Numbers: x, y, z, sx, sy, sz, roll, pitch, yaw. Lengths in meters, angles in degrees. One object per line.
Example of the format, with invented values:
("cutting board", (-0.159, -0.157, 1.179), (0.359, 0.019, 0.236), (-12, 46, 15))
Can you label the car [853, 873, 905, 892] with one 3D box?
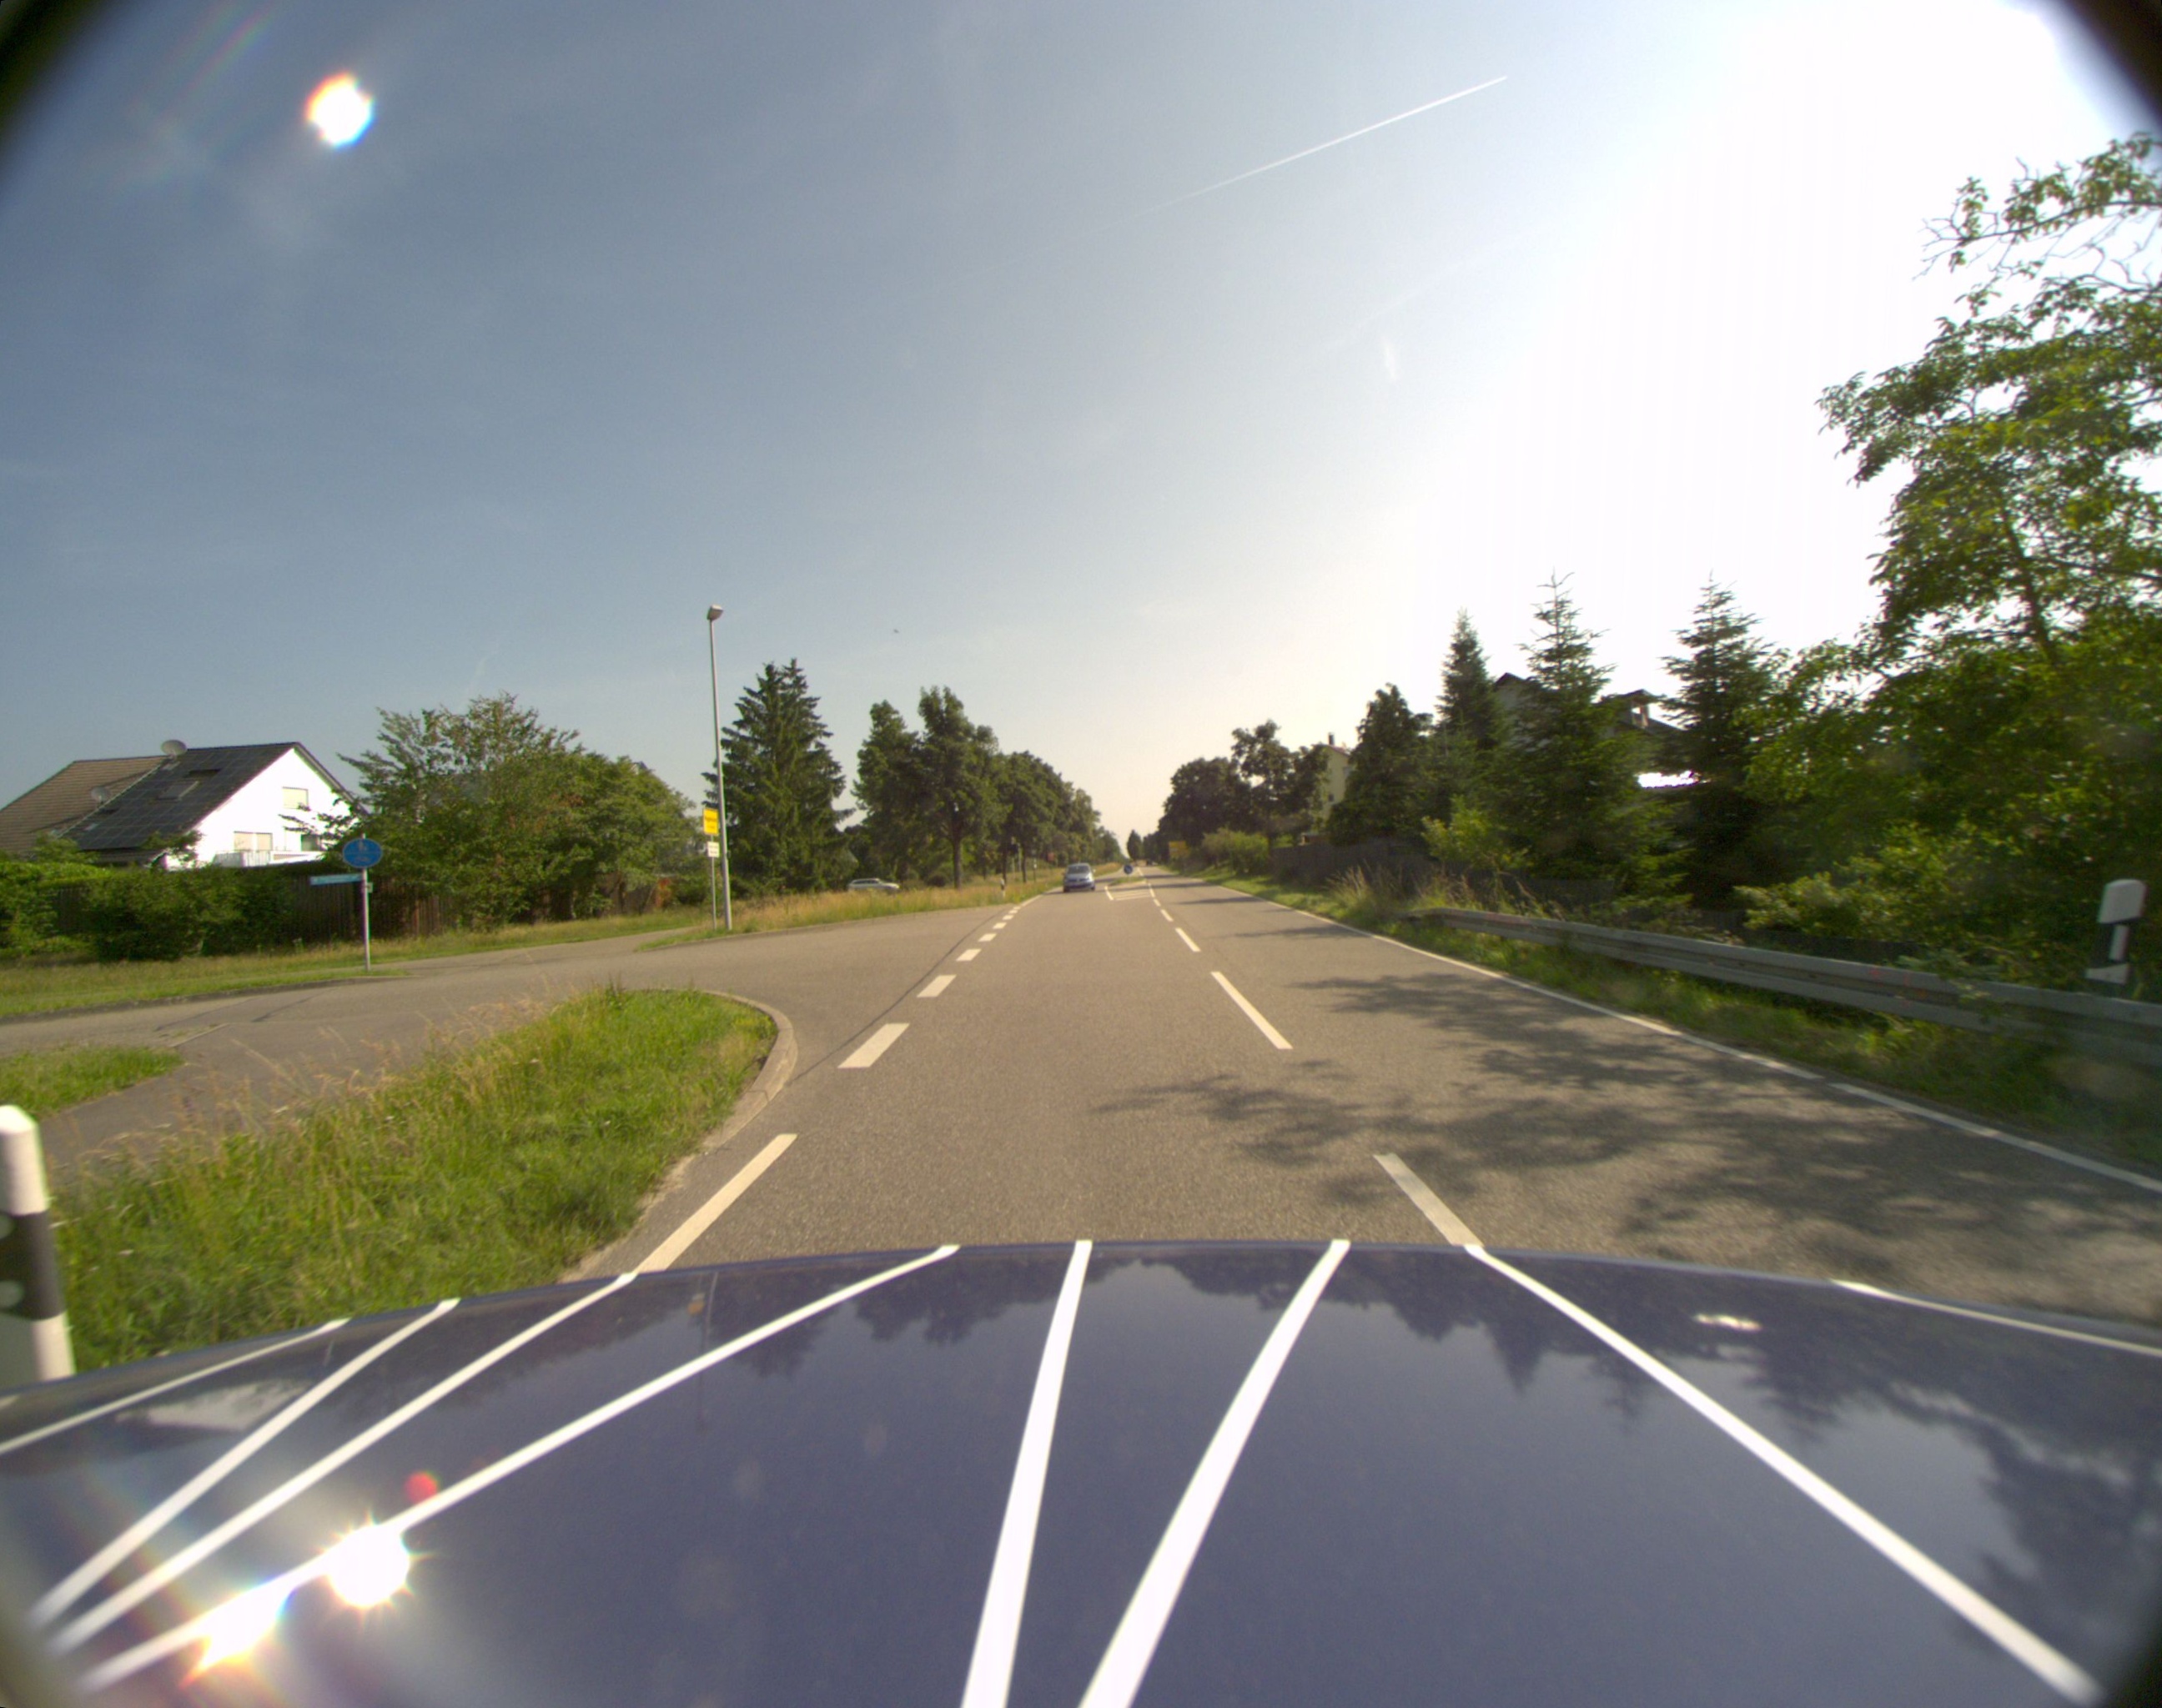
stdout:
("car", (-17.636, 2.504, 66.599), (3.997, 1.425, 1.815), (-3, 0, -1))

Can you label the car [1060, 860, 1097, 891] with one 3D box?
("car", (-0.098, 1.196, 43.999), (1.808, 1.592, 4.271), (-4, -1, 3))
